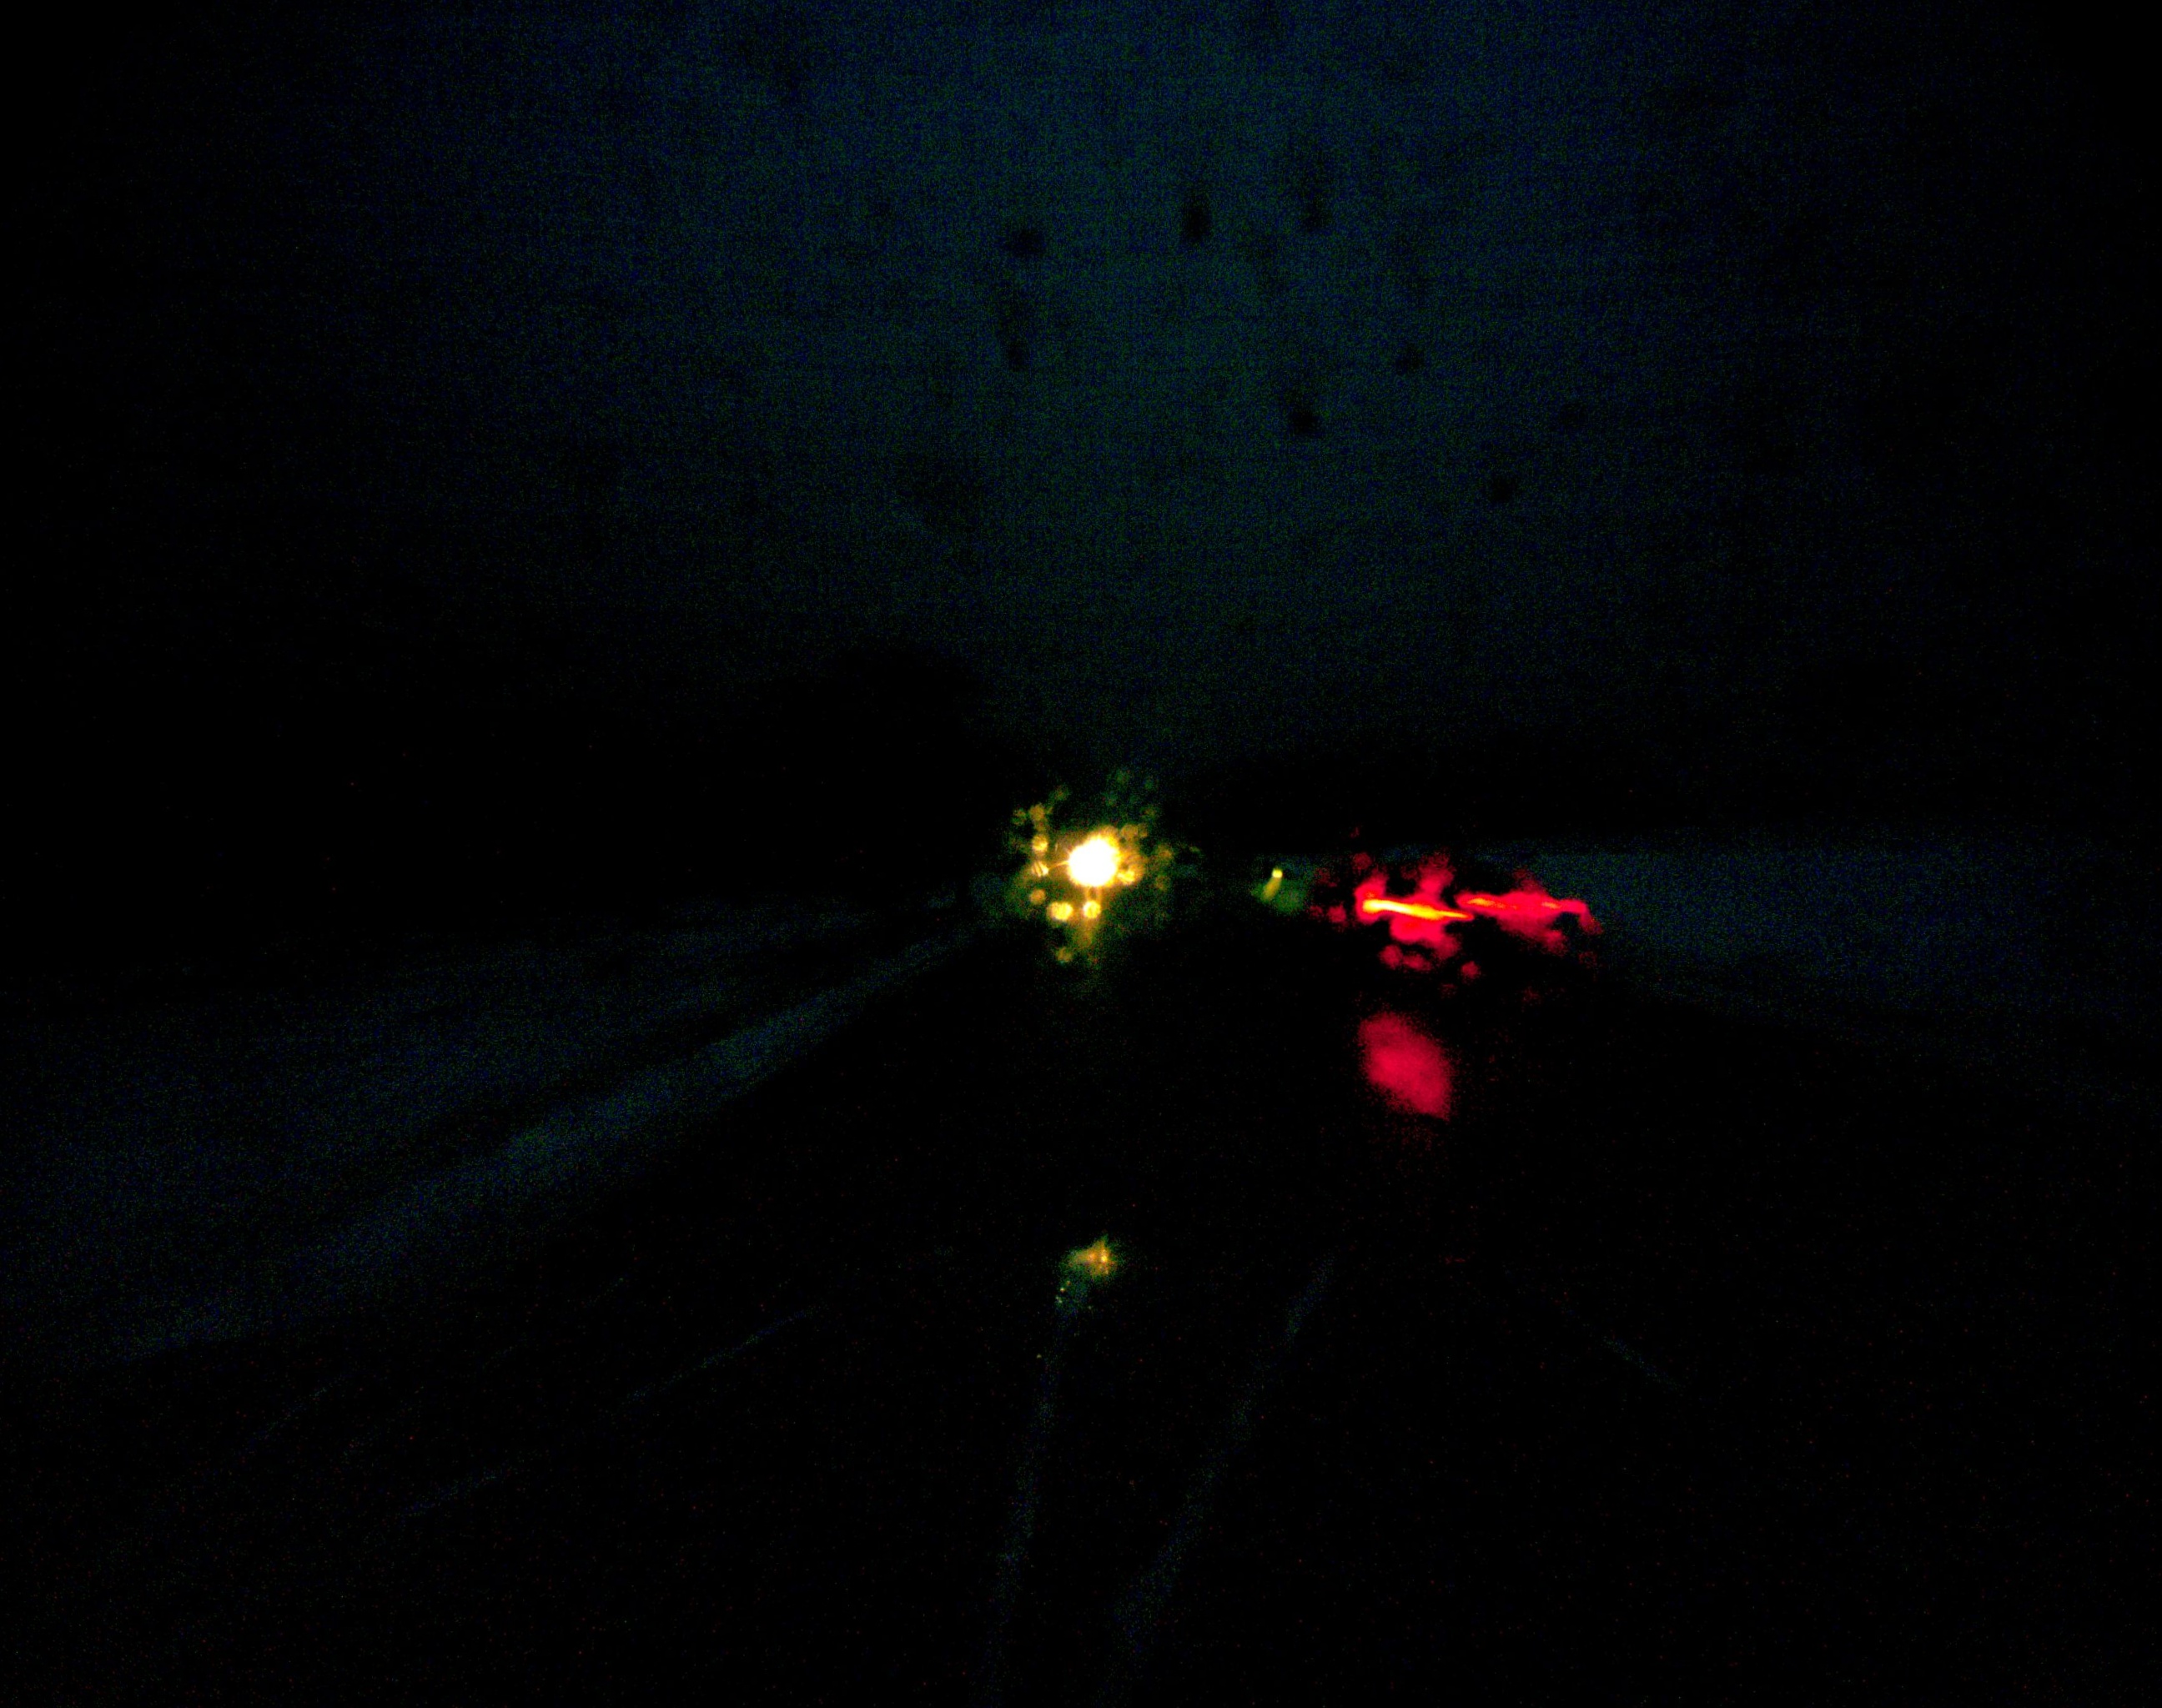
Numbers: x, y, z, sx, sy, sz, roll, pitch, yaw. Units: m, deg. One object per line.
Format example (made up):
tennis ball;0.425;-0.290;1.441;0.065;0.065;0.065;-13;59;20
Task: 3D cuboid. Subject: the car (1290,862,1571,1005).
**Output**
car;4.114;0.829;9.800;1.732;1.338;4.221;-1;1;1

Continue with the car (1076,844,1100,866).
car;0.707;0.091;76.216;1.998;2.002;4.000;-5;1;4
